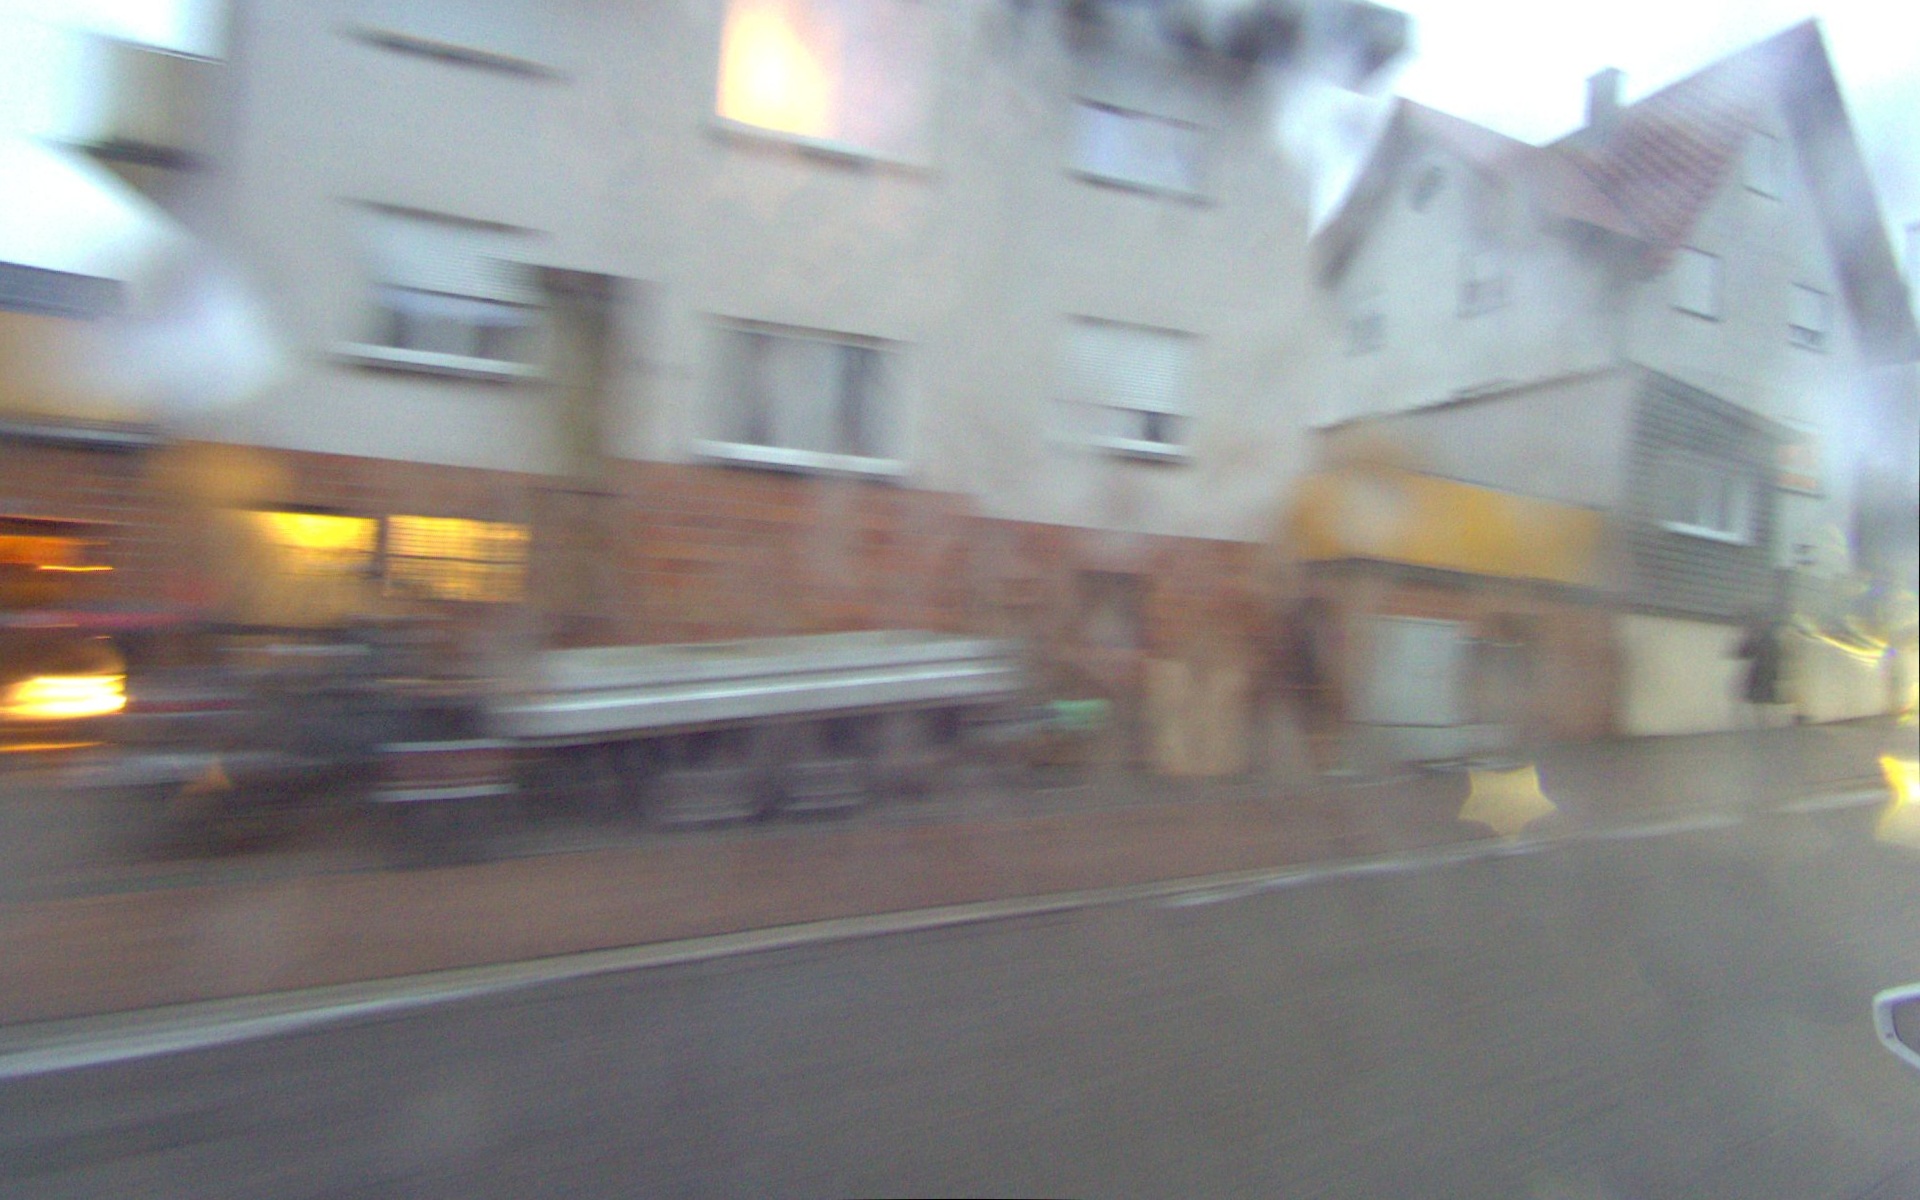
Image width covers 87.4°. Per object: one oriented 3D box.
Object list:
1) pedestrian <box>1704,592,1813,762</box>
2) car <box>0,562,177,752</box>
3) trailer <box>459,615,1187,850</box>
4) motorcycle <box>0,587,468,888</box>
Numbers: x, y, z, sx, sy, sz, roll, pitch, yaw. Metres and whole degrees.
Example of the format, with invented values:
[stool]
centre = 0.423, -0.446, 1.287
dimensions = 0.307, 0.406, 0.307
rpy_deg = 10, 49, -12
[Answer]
[pedestrian]
centre = 8.693, 0.821, 10.936
dimensions = 0.802, 1.756, 0.595
rpy_deg = 3, 0, -29
[car]
centre = -8.479, 0.400, 8.197
dimensions = 1.886, 1.435, 3.986
rpy_deg = 2, 0, -16
[trailer]
centre = -0.924, 0.806, 7.358
dimensions = 4.802, 1.184, 2.052
rpy_deg = 2, 1, -25
[motorcycle]
centre = -3.960, 0.612, 5.695
dimensions = 1.036, 1.316, 2.239
rpy_deg = 3, 1, 6
